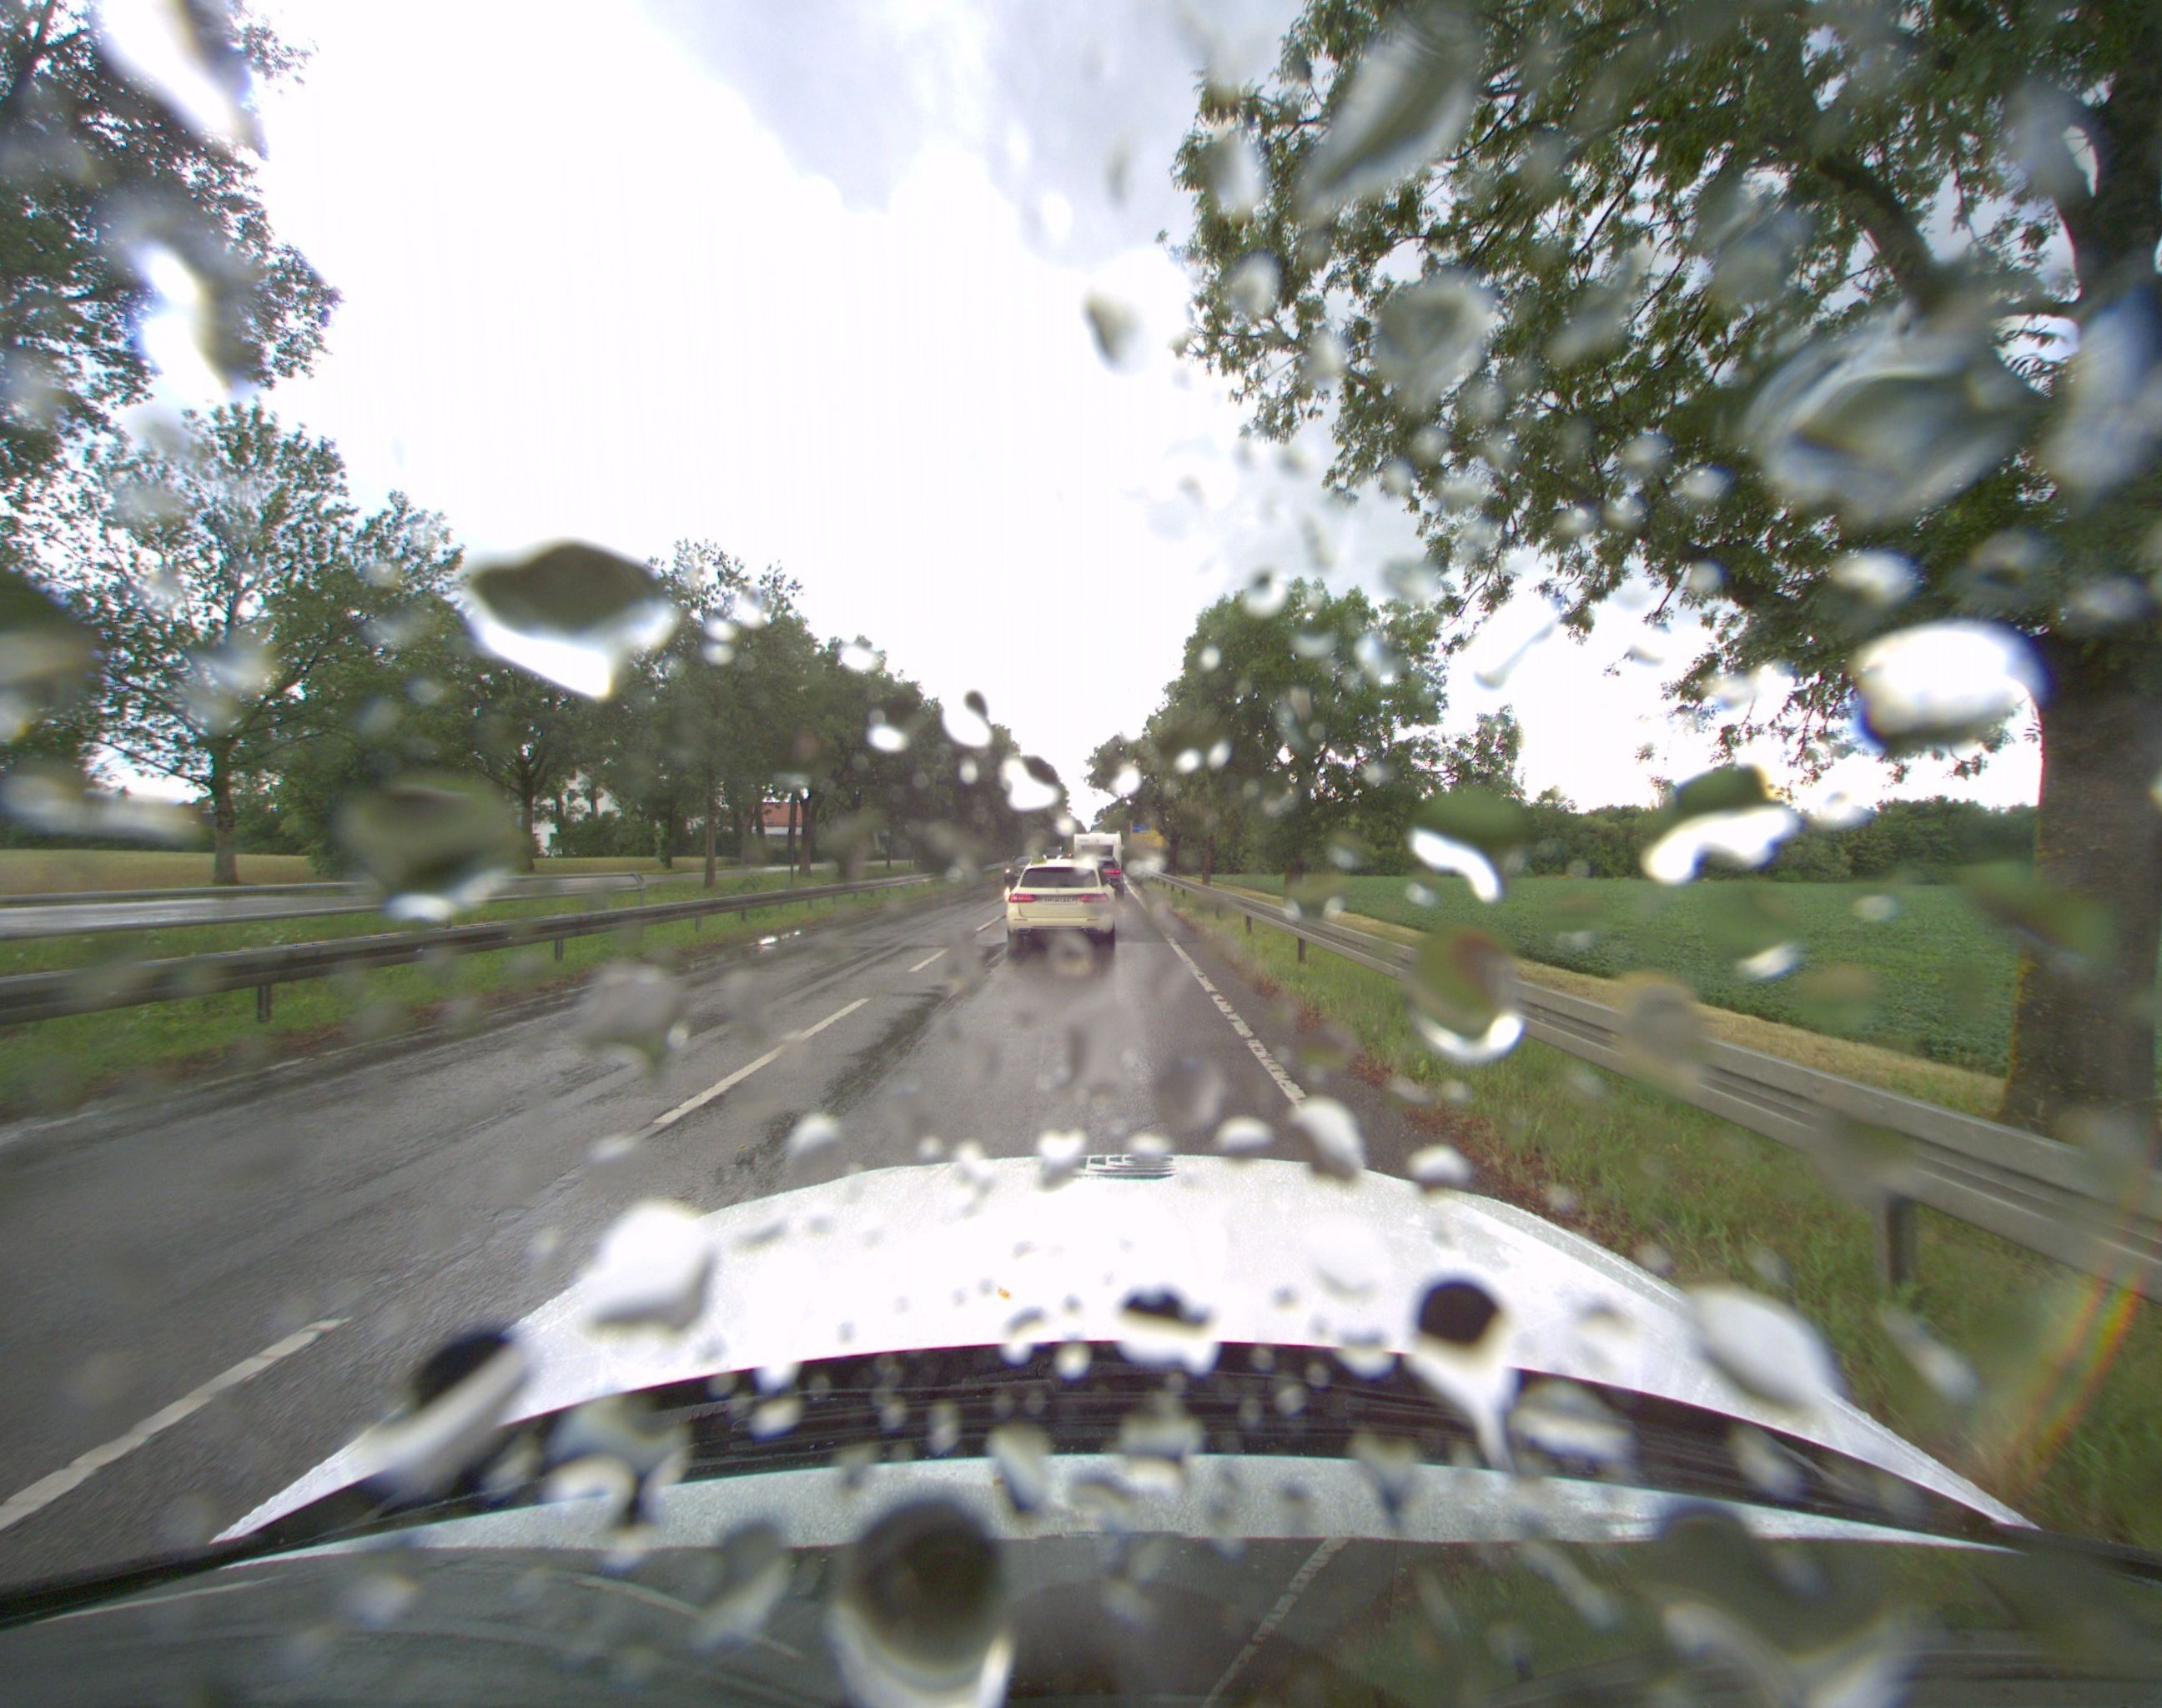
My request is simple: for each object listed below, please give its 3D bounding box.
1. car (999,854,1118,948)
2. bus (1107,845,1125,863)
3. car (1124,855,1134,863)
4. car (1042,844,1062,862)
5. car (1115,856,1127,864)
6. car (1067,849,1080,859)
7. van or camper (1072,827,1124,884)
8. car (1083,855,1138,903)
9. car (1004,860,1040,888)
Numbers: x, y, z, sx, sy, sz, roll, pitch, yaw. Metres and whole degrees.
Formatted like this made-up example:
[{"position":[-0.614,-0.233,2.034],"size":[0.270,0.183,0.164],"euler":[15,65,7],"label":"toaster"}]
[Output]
[{"position":[-0.268,0.744,14.868],"size":[1.857,1.476,4.003],"euler":[-1,0,3],"label":"car"},{"position":[4.177,-0.004,96.983],"size":[1.986,2.013,4.001],"euler":[-1,0,1],"label":"bus"},{"position":[7.680,0.808,129.908],"size":[1.545,1.118,4.002],"euler":[0,0,3],"label":"car"},{"position":[-2.986,-0.062,85.683],"size":[1.821,1.802,4.416],"euler":[-1,0,1],"label":"car"},{"position":[5.919,0.938,120.513],"size":[1.546,1.118,4.001],"euler":[0,0,1],"label":"car"},{"position":[-1.047,-0.015,112.379],"size":[1.622,1.438,3.961],"euler":[0,0,1],"label":"car"},{"position":[0.964,0.069,41.754],"size":[2.479,2.685,5.704],"euler":[0,0,3],"label":"van or camper"},{"position":[0.985,0.762,26.861],"size":[1.657,1.430,4.003],"euler":[-1,0,3],"label":"car"},{"position":[-3.362,1.121,47.026],"size":[1.708,1.451,4.112],"euler":[0,0,1],"label":"car"}]
